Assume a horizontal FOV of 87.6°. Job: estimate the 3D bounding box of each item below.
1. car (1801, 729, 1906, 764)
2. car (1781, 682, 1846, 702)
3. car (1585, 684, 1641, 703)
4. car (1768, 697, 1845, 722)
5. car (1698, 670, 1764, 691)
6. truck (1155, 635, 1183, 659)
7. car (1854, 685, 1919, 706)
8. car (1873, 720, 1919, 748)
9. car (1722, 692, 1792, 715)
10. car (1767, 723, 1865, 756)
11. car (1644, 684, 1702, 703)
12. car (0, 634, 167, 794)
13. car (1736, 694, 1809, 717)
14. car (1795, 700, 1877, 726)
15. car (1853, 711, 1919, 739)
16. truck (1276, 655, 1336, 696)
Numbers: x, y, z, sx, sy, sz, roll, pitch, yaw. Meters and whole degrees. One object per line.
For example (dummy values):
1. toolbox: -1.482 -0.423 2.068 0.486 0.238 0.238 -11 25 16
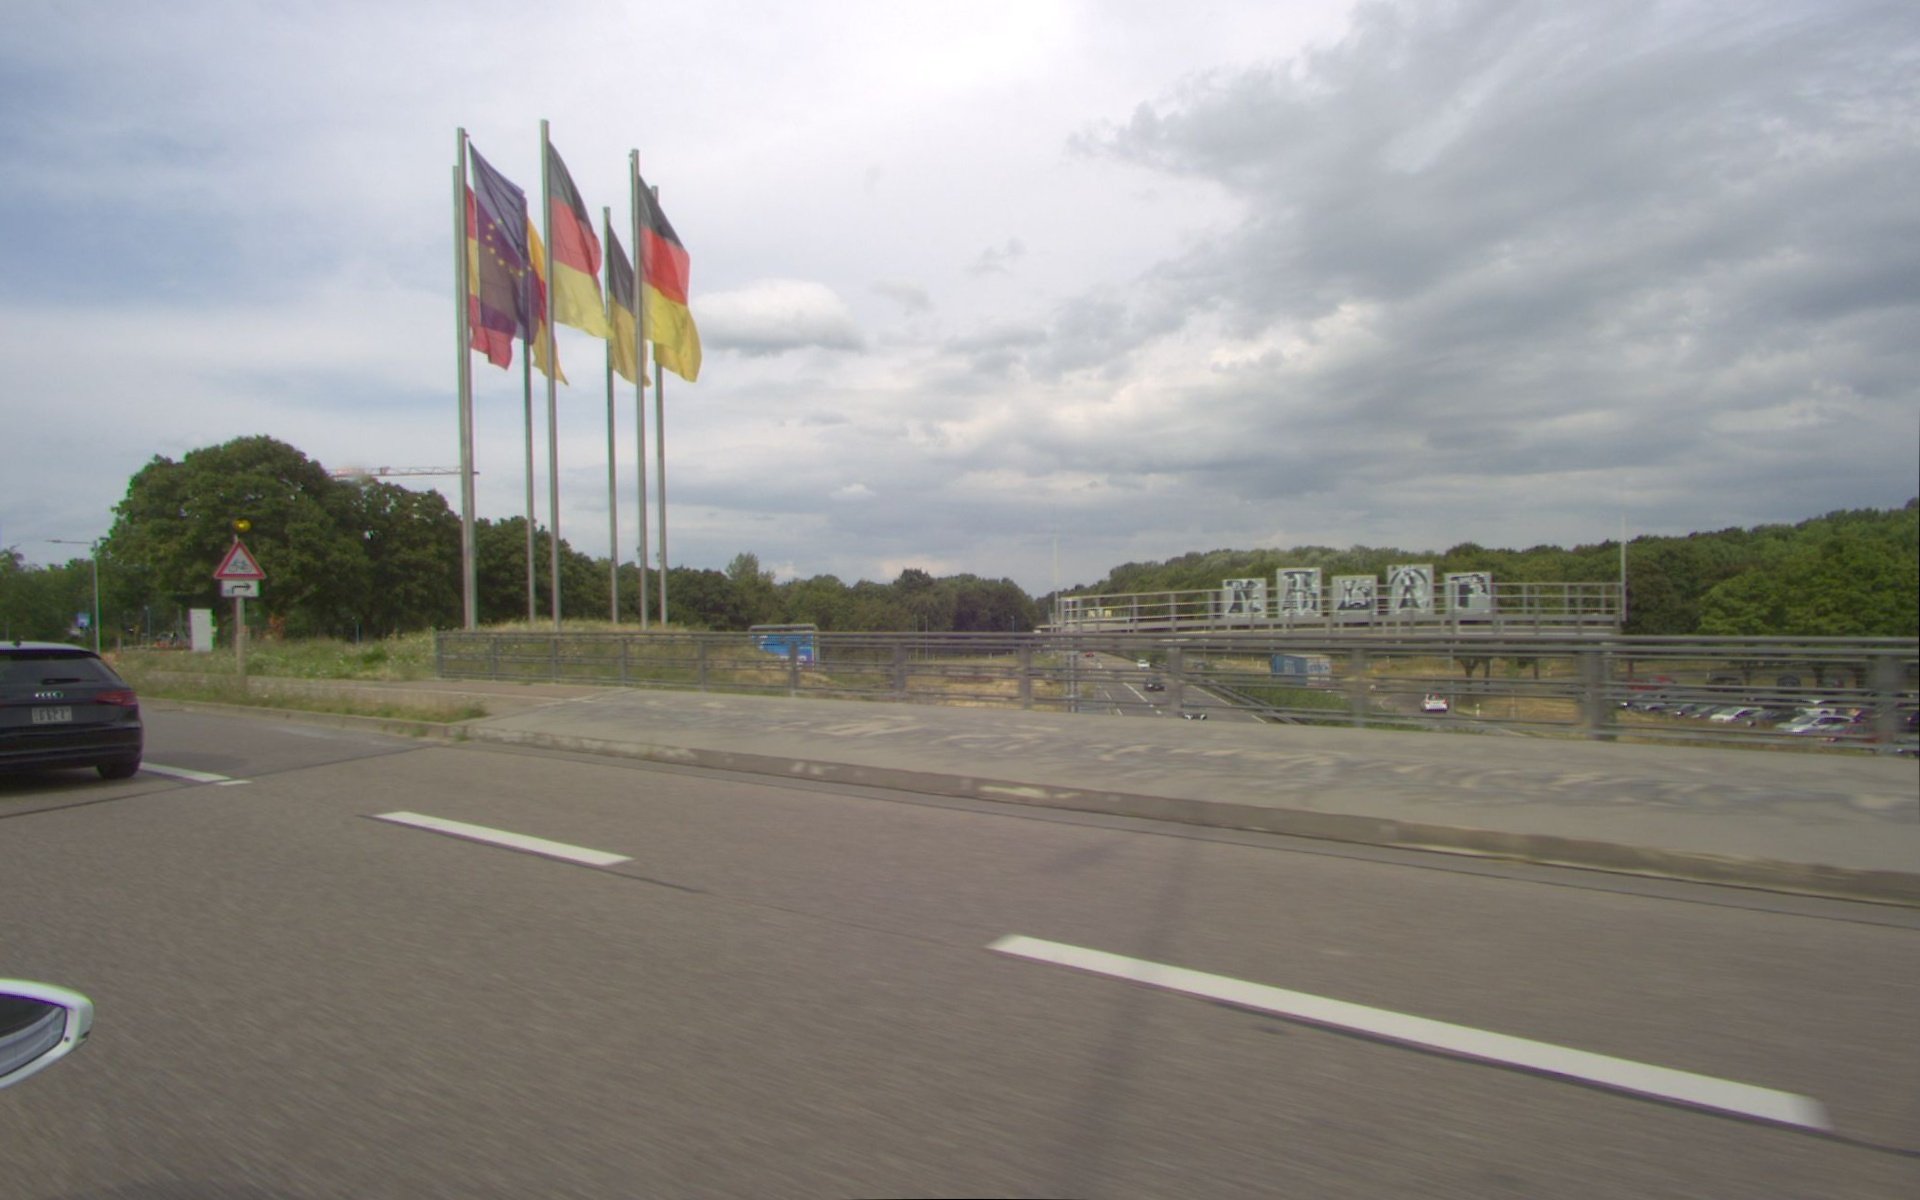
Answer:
1. car: 50.681 8.310 56.886 3.925 1.594 1.999 0 -1 13
2. car: 76.664 8.243 90.004 3.925 1.594 1.999 0 -1 13
3. car: 61.299 8.748 94.024 3.925 1.594 1.999 0 -1 13
4. car: 63.162 8.180 74.793 3.925 1.594 1.999 0 -1 13
5. car: 64.801 6.736 84.205 3.925 1.594 1.999 0 -1 13
6. truck: 42.009 9.410 201.860 3.778 4.518 12.658 0 -2 4
7. car: 79.751 8.149 85.975 3.925 1.594 1.999 0 -1 13
8. car: 61.718 8.658 64.388 3.925 1.594 1.999 0 -1 13
9. car: 64.427 8.367 81.019 3.925 1.594 1.999 0 -1 13
10. car: 50.788 8.272 59.473 3.925 1.594 1.999 0 -1 13
11. car: 66.404 8.673 93.330 3.925 1.594 1.999 0 -1 13
12. car: -10.020 1.055 10.223 4.055 1.412 1.728 -1 -2 32
13. car: 63.799 8.294 78.686 3.925 1.594 1.999 0 -1 13
14. car: 63.073 8.106 72.163 3.925 1.594 1.999 0 -1 13
15. car: 62.363 8.300 66.619 3.925 1.594 1.999 0 -1 13
16. truck: 36.766 7.886 107.036 3.293 3.664 13.996 1 -2 7
